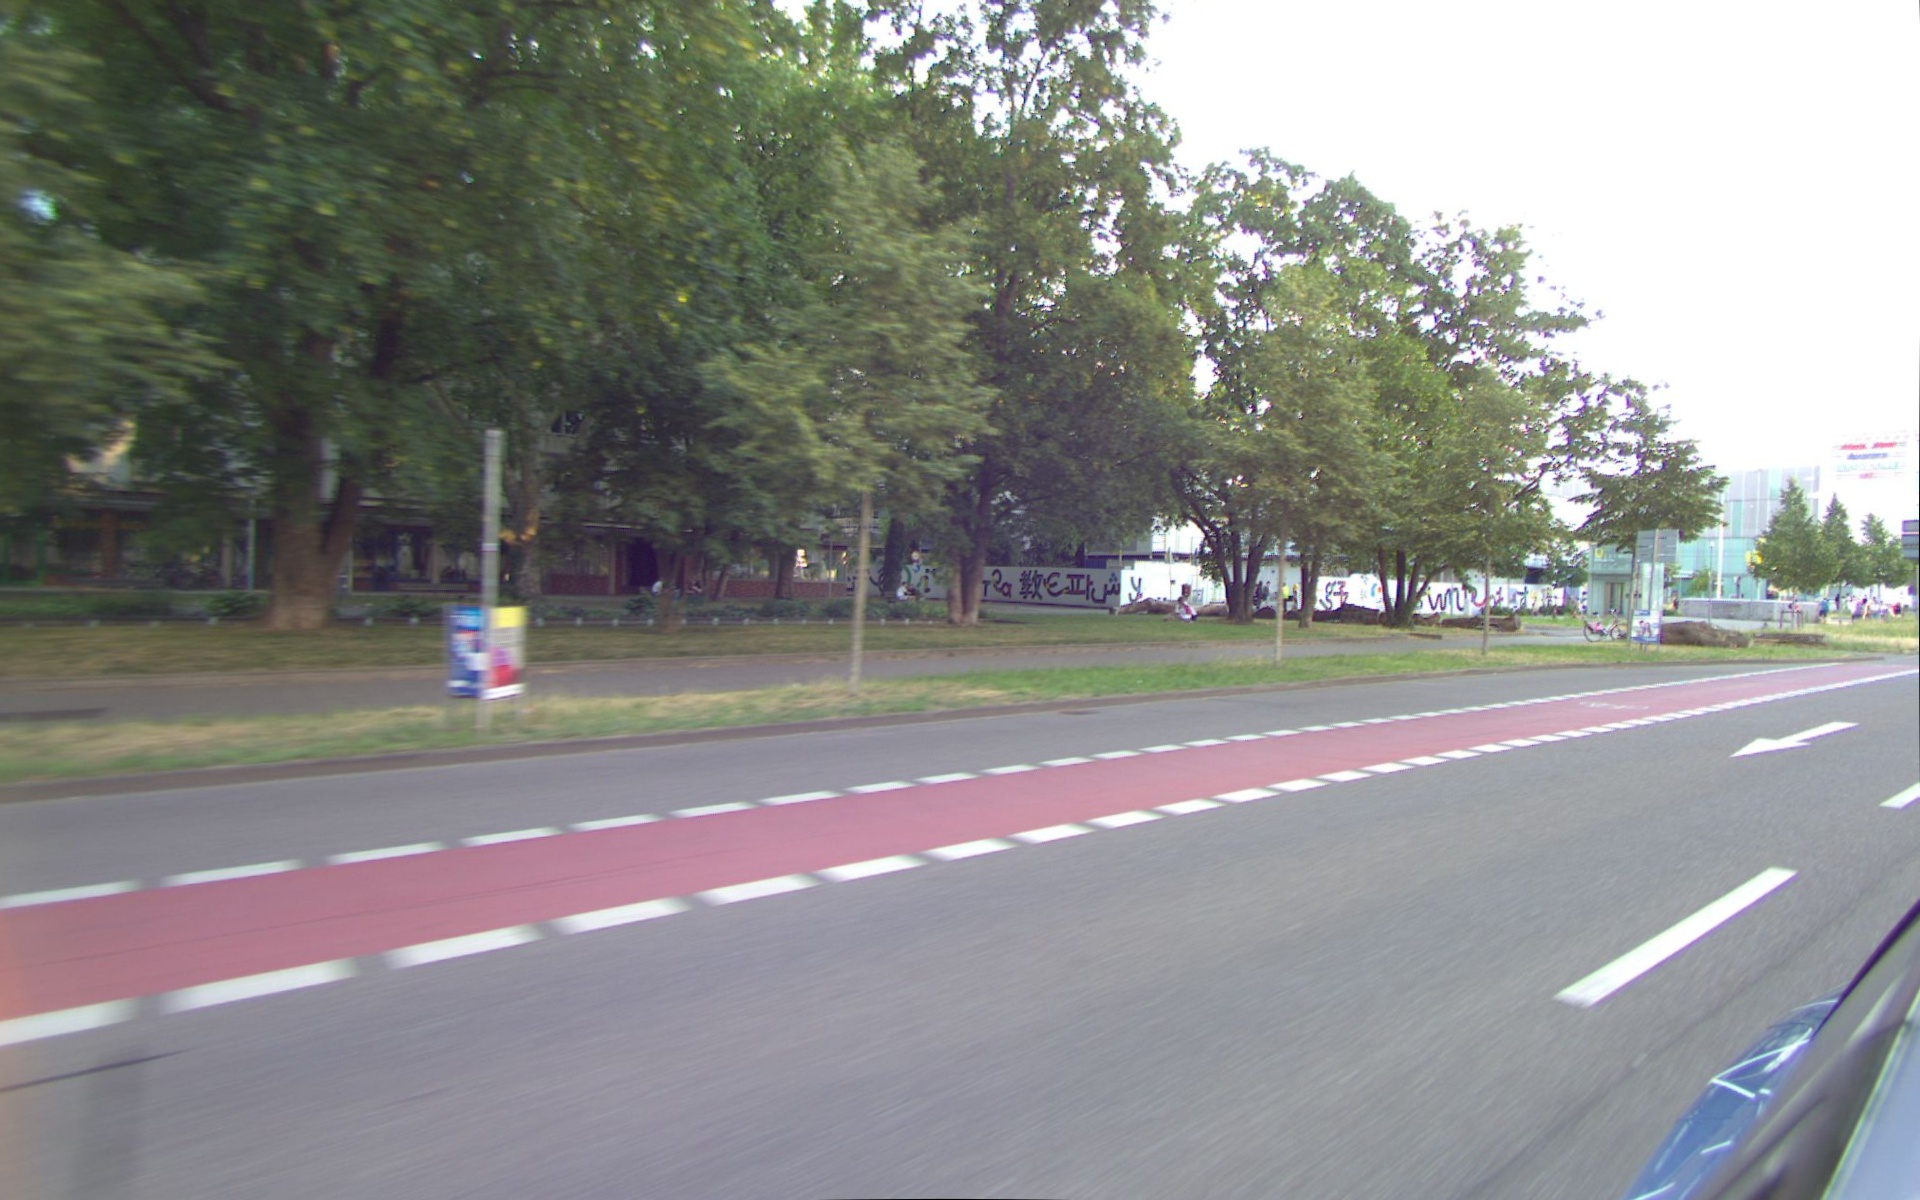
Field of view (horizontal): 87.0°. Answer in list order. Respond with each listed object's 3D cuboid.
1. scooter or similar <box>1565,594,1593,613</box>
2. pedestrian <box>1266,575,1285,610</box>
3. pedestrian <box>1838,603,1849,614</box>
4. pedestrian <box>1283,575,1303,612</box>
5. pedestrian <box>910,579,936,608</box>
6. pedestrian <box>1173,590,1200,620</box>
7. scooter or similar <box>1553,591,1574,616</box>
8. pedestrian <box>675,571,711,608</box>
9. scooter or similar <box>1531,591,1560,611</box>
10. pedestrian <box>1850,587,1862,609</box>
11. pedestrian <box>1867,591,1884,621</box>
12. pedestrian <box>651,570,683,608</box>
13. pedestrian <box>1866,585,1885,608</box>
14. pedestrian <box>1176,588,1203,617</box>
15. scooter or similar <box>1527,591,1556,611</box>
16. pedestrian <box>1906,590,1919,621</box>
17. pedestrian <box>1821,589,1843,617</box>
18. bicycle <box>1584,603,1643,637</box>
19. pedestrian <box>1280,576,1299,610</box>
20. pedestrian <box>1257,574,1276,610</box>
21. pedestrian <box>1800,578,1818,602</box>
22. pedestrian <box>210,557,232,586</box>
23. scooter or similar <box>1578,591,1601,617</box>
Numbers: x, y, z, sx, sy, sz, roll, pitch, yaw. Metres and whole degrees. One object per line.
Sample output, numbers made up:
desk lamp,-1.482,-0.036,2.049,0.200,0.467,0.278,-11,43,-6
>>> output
scooter or similar,42.720,0.246,69.867,0.466,1.236,1.573,0,1,-40
pedestrian,17.203,-0.406,55.134,0.587,1.879,0.771,1,1,-23
pedestrian,77.211,0.728,88.450,0.643,0.975,0.648,1,1,-43
pedestrian,17.719,-0.340,53.889,0.587,1.943,0.771,1,1,-23
pedestrian,-1.567,-0.276,43.179,0.754,1.178,0.787,0,2,-43
pedestrian,7.087,0.144,31.681,0.675,0.895,0.587,2,1,28
scooter or similar,31.088,0.176,52.107,1.549,1.235,0.473,0,4,-45
pedestrian,-9.612,-0.377,36.415,0.888,1.276,1.135,1,1,-35
scooter or similar,37.399,0.062,64.634,0.466,1.236,1.572,0,0,-40
pedestrian,78.563,-0.160,88.747,0.575,1.877,0.605,1,1,-33
pedestrian,60.103,0.386,66.454,0.608,1.957,0.644,1,1,-36
pedestrian,-10.403,-0.394,35.914,0.712,1.276,1.135,1,1,-35
pedestrian,80.491,-0.306,88.962,0.883,1.876,0.722,3,4,19
pedestrian,7.321,0.064,32.238,0.675,0.895,0.617,2,1,28
scooter or similar,36.815,0.076,64.079,0.466,1.236,1.572,0,0,-40
pedestrian,61.740,0.337,65.488,0.608,1.957,0.644,1,1,-38
pedestrian,58.879,0.186,68.299,1.026,1.838,0.817,2,0,-33
bicycle,21.450,0.661,33.220,1.858,1.017,0.497,2,3,-18
pedestrian,18.069,-0.366,55.559,0.587,1.843,0.771,1,1,-23
pedestrian,16.976,-0.447,56.078,0.587,1.925,0.771,1,1,-23
pedestrian,54.629,-0.636,65.104,0.633,1.509,0.762,3,0,-39
pedestrian,-30.525,-1.182,41.802,0.687,1.178,0.788,1,1,-37
scooter or similar,31.861,0.208,51.226,1.373,1.235,0.425,1,4,-38
